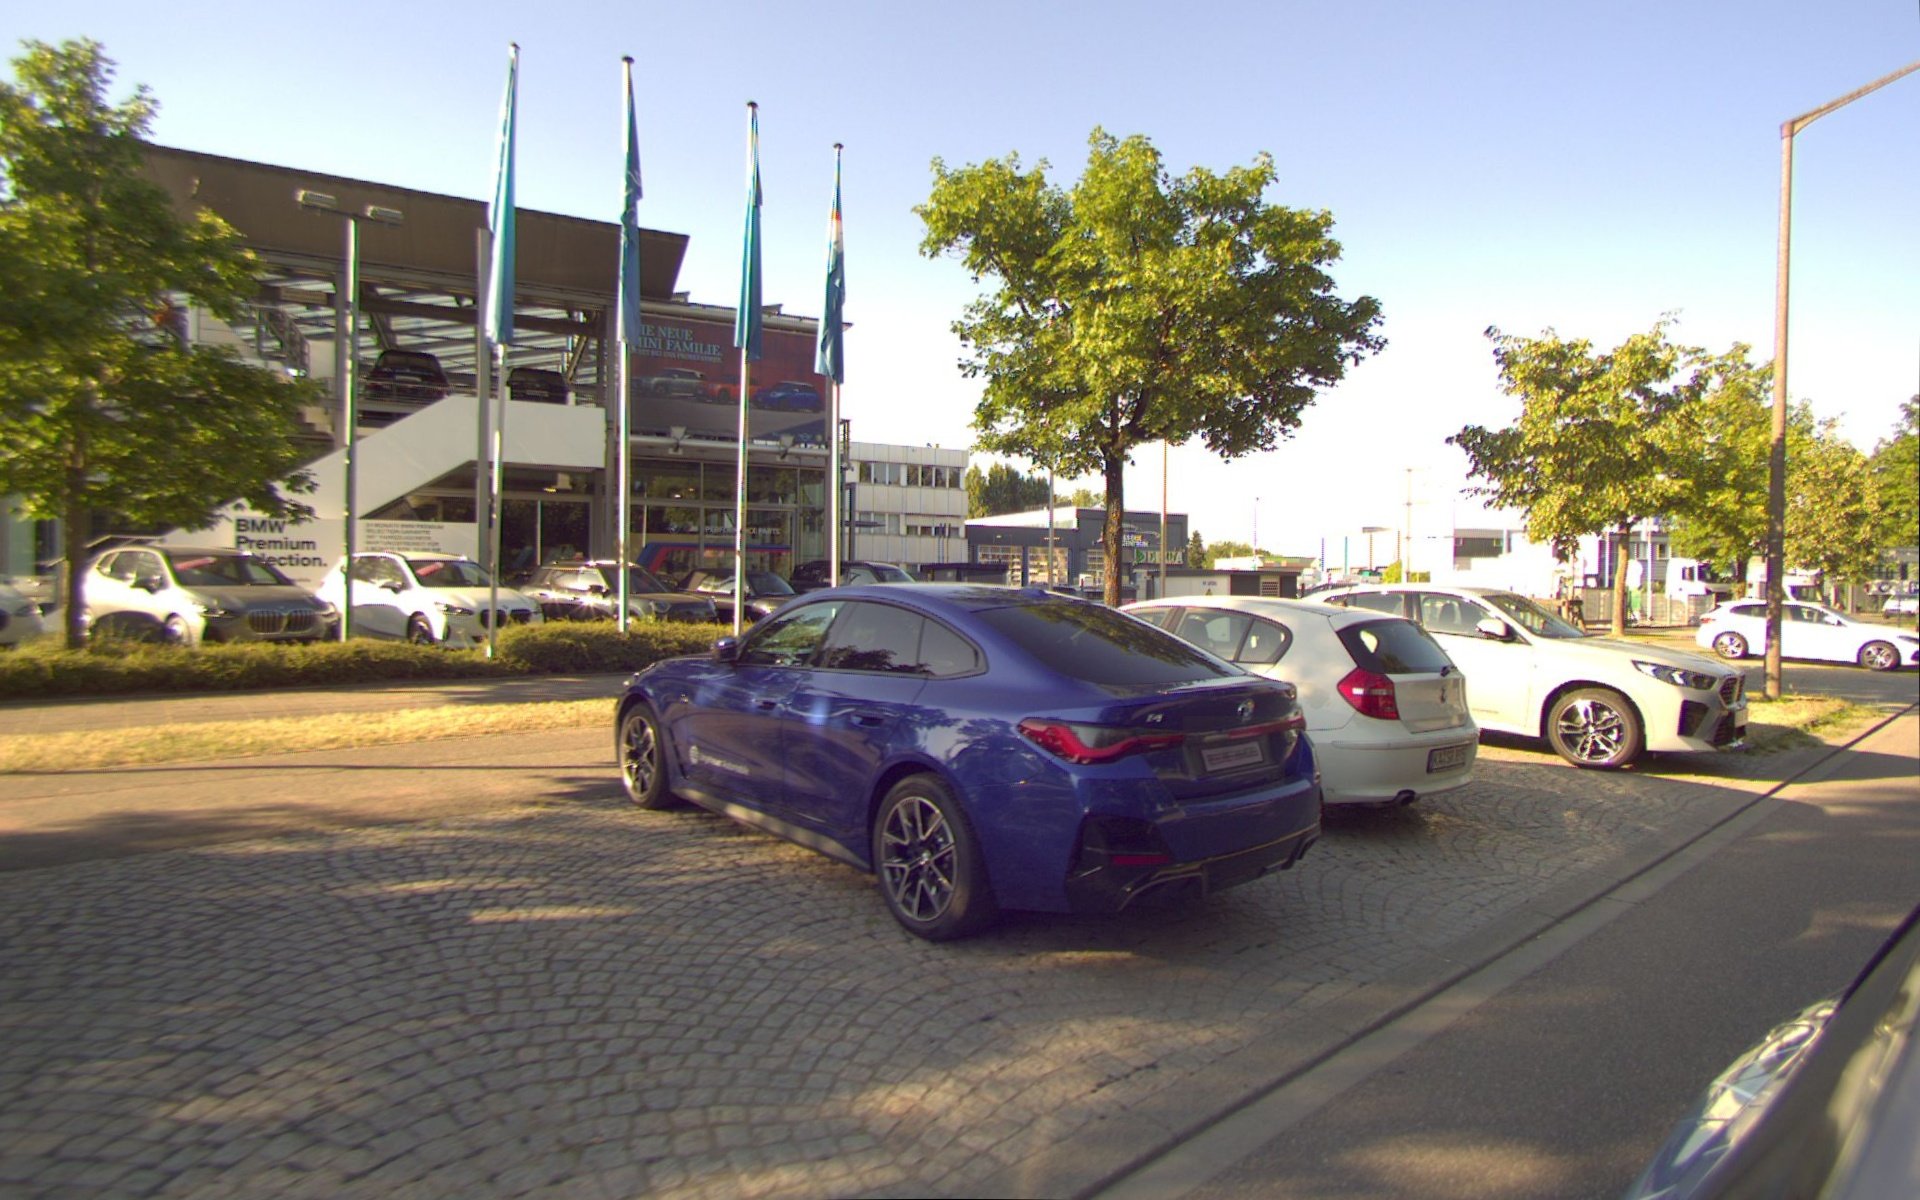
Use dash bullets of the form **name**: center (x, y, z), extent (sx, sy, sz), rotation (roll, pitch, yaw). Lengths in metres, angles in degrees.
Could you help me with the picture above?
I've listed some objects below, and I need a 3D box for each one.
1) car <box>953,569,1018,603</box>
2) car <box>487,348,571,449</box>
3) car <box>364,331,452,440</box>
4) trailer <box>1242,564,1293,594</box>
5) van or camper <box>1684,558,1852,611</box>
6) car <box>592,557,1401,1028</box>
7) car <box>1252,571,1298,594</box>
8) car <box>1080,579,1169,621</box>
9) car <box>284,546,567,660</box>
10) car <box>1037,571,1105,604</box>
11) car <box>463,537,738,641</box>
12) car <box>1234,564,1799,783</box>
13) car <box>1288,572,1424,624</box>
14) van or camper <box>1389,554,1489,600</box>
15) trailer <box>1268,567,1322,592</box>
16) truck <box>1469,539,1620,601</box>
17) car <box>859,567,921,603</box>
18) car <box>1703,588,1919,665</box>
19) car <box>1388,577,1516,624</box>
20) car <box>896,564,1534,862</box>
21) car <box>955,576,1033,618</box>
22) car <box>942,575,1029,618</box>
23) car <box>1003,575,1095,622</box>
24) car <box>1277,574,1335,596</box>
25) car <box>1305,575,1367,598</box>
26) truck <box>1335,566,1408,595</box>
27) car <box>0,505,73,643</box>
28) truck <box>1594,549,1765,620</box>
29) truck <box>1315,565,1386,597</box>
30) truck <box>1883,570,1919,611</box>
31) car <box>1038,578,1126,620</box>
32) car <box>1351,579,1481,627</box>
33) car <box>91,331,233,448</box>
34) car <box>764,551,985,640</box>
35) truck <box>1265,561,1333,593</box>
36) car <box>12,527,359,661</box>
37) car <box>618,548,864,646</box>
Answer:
- **car**: center (1.323, -0.764, 54.761), extent (1.958, 1.763, 4.008), rotation (1, 1, -24)
- **car**: center (-11.313, -5.147, 26.415), extent (1.750, 1.688, 4.005), rotation (1, -2, -27)
- **car**: center (-13.538, -5.180, 24.990), extent (1.750, 1.688, 4.005), rotation (1, -2, -27)
- **trailer**: center (32.837, -2.267, 108.234), extent (4.758, 3.107, 2.003), rotation (1, 1, -8)
- **van or camper**: center (48.735, -0.968, 61.427), extent (2.882, 2.936, 8.026), rotation (1, 1, -9)
- **car**: center (-0.256, 0.556, 5.725), extent (1.965, 1.474, 4.635), rotation (0, 3, -40)
- **car**: center (32.656, -1.849, 104.987), extent (3.918, 2.306, 2.092), rotation (1, 1, -8)
- **car**: center (6.903, -0.060, 42.894), extent (1.958, 1.598, 4.009), rotation (-2, 2, -21)
- **car**: center (-8.702, -0.027, 16.396), extent (4.567, 1.593, 1.979), rotation (2, 1, 31)
- **car**: center (6.161, -0.723, 56.635), extent (1.958, 1.763, 4.008), rotation (1, 1, -24)
- **car**: center (-6.472, -0.256, 18.213), extent (4.555, 1.593, 1.984), rotation (3, 2, 24)
- **car**: center (5.331, 0.513, 10.270), extent (1.965, 1.604, 4.600), rotation (0, 3, -40)
- **car**: center (12.985, -0.091, 33.457), extent (1.958, 1.598, 4.009), rotation (1, 1, -21)
- **van or camper**: center (36.811, -1.800, 78.124), extent (2.364, 3.370, 8.156), rotation (1, 1, -13)
- **trailer**: center (34.045, -2.074, 102.875), extent (4.758, 2.467, 2.003), rotation (1, 1, -8)
- **truck**: center (37.769, -1.926, 66.048), extent (3.229, 3.689, 10.132), rotation (1, 1, -5)
- **car**: center (-3.690, -0.812, 52.629), extent (1.958, 1.763, 4.008), rotation (1, 1, -24)
- **car**: center (20.005, 0.546, 23.318), extent (2.049, 1.461, 4.212), rotation (0, 3, -36)
- **car**: center (18.246, -0.016, 37.747), extent (1.958, 1.598, 4.009), rotation (1, 1, -21)
- **car**: center (1.614, 0.546, 7.731), extent (1.965, 1.497, 4.386), rotation (0, 3, -40)
- **car**: center (1.458, -0.153, 45.018), extent (1.958, 1.598, 4.009), rotation (5, 0, -21)
- **car**: center (0.935, -0.166, 39.502), extent (1.958, 1.465, 4.009), rotation (3, 1, -21)
- **car**: center (3.470, -0.104, 40.117), extent (1.958, 1.598, 4.009), rotation (5, 0, -21)
- **car**: center (33.920, -1.512, 99.284), extent (4.947, 2.038, 2.004), rotation (1, 1, -10)
- **car**: center (34.651, -1.211, 93.242), extent (4.947, 2.040, 2.003), rotation (0, -2, -10)
- **truck**: center (43.232, -2.061, 106.374), extent (6.968, 2.942, 2.003), rotation (1, 1, -8)
- **car**: center (-13.290, -0.389, 12.354), extent (4.555, 1.593, 1.984), rotation (3, 2, 24)
- **truck**: center (39.433, -0.907, 55.911), extent (3.053, 3.566, 8.262), rotation (1, 1, -4)
- **truck**: center (42.082, -2.051, 109.231), extent (6.968, 3.392, 2.003), rotation (1, 1, -8)
- **truck**: center (66.115, -0.602, 68.923), extent (5.847, 2.754, 2.552), rotation (1, 1, -24)
- **car**: center (5.000, -0.090, 42.011), extent (1.958, 1.598, 4.009), rotation (-2, 2, -21)
- **car**: center (16.274, 0.070, 36.359), extent (1.958, 1.598, 4.009), rotation (1, 1, -21)
- **car**: center (-18.083, -4.683, 23.129), extent (1.750, 1.688, 4.005), rotation (1, -2, -27)
- **car**: center (-1.930, -0.157, 22.363), extent (4.569, 1.687, 1.978), rotation (3, 2, 31)
- **truck**: center (39.782, -2.661, 118.742), extent (6.968, 3.620, 2.681), rotation (1, 1, -8)
- **car**: center (-10.992, -0.165, 14.348), extent (4.555, 1.593, 1.984), rotation (3, 2, 24)
- **car**: center (-4.419, -0.129, 20.386), extent (4.555, 1.687, 1.984), rotation (3, 2, 24)
